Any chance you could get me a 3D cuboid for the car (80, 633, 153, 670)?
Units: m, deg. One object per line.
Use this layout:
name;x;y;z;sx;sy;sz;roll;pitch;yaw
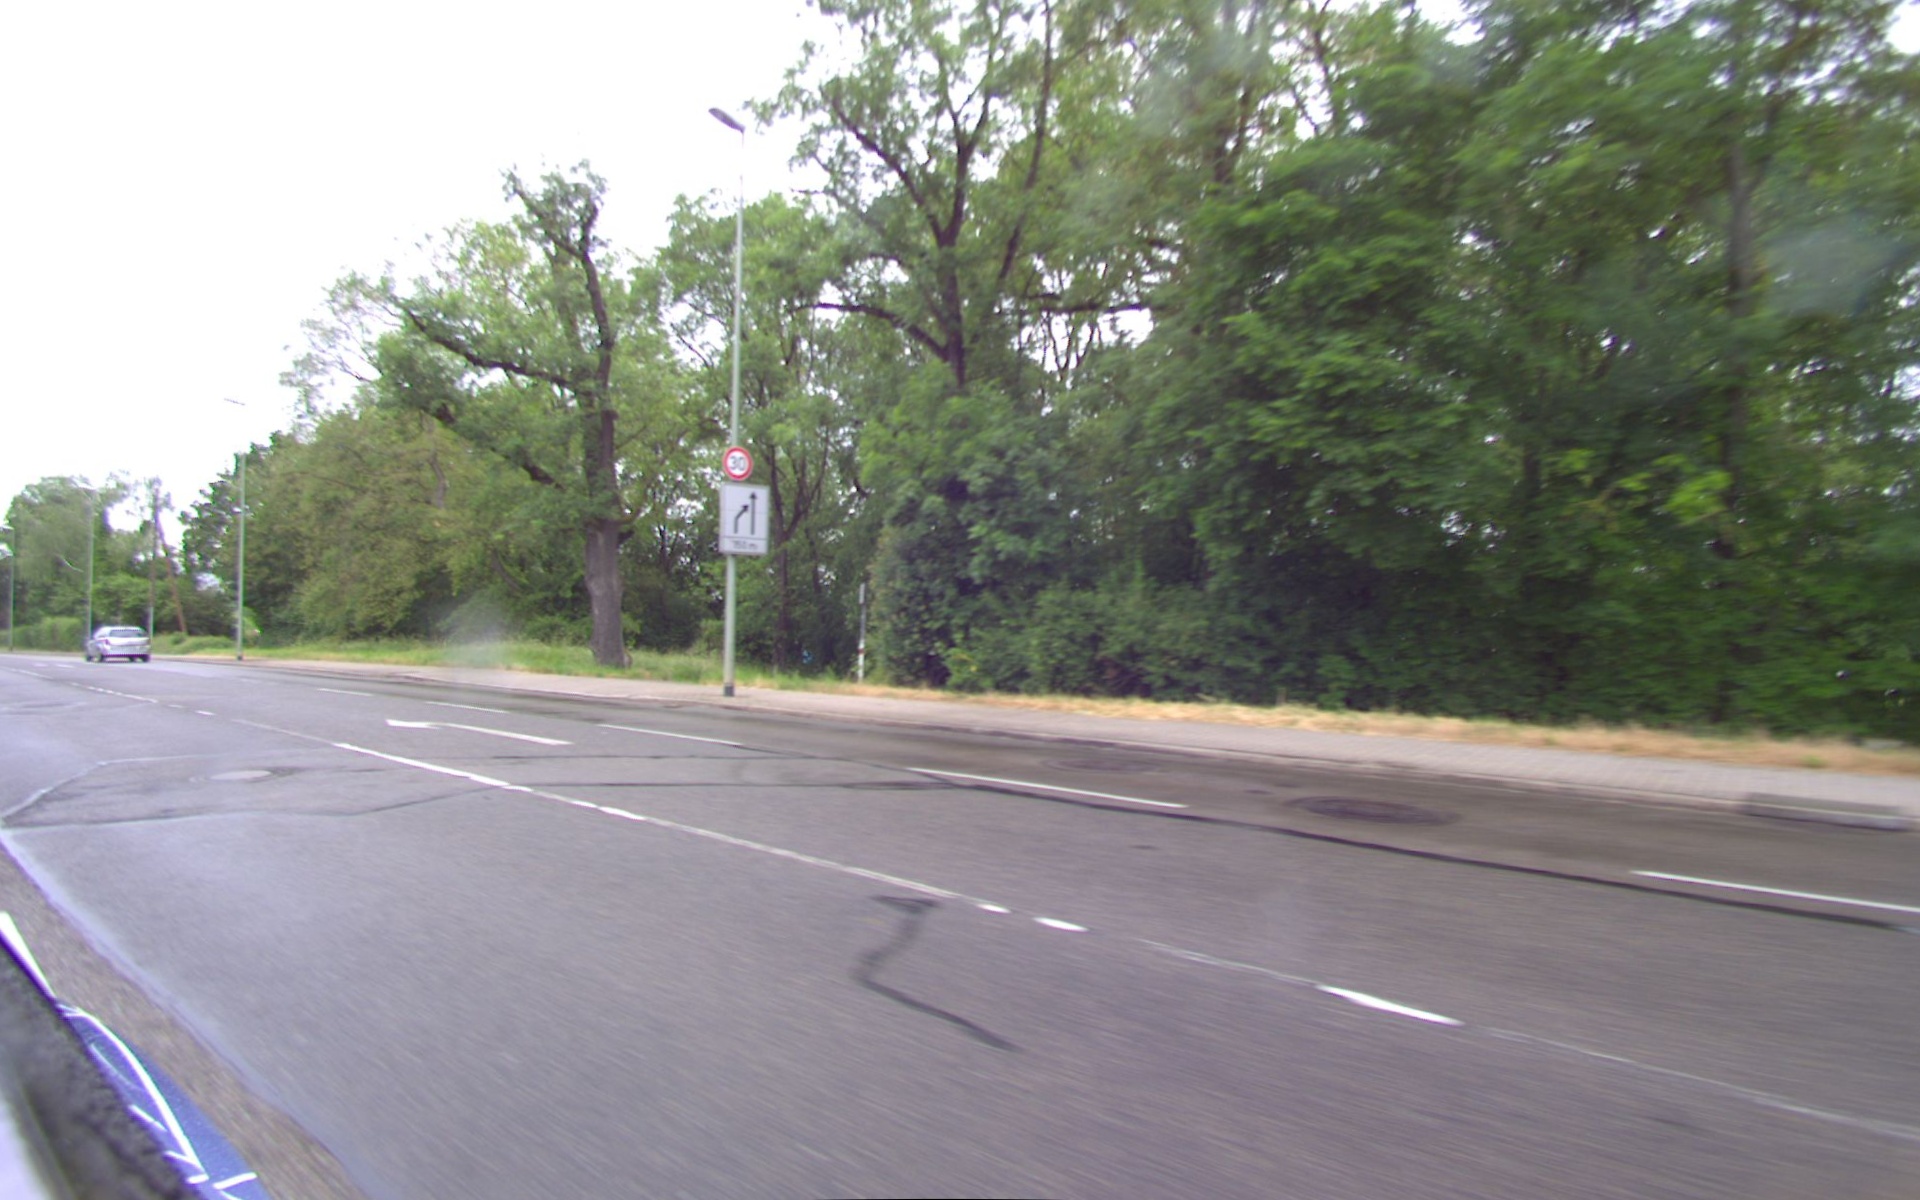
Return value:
car;-35.867;2.185;42.998;4.449;1.494;1.672;-2;-4;41
